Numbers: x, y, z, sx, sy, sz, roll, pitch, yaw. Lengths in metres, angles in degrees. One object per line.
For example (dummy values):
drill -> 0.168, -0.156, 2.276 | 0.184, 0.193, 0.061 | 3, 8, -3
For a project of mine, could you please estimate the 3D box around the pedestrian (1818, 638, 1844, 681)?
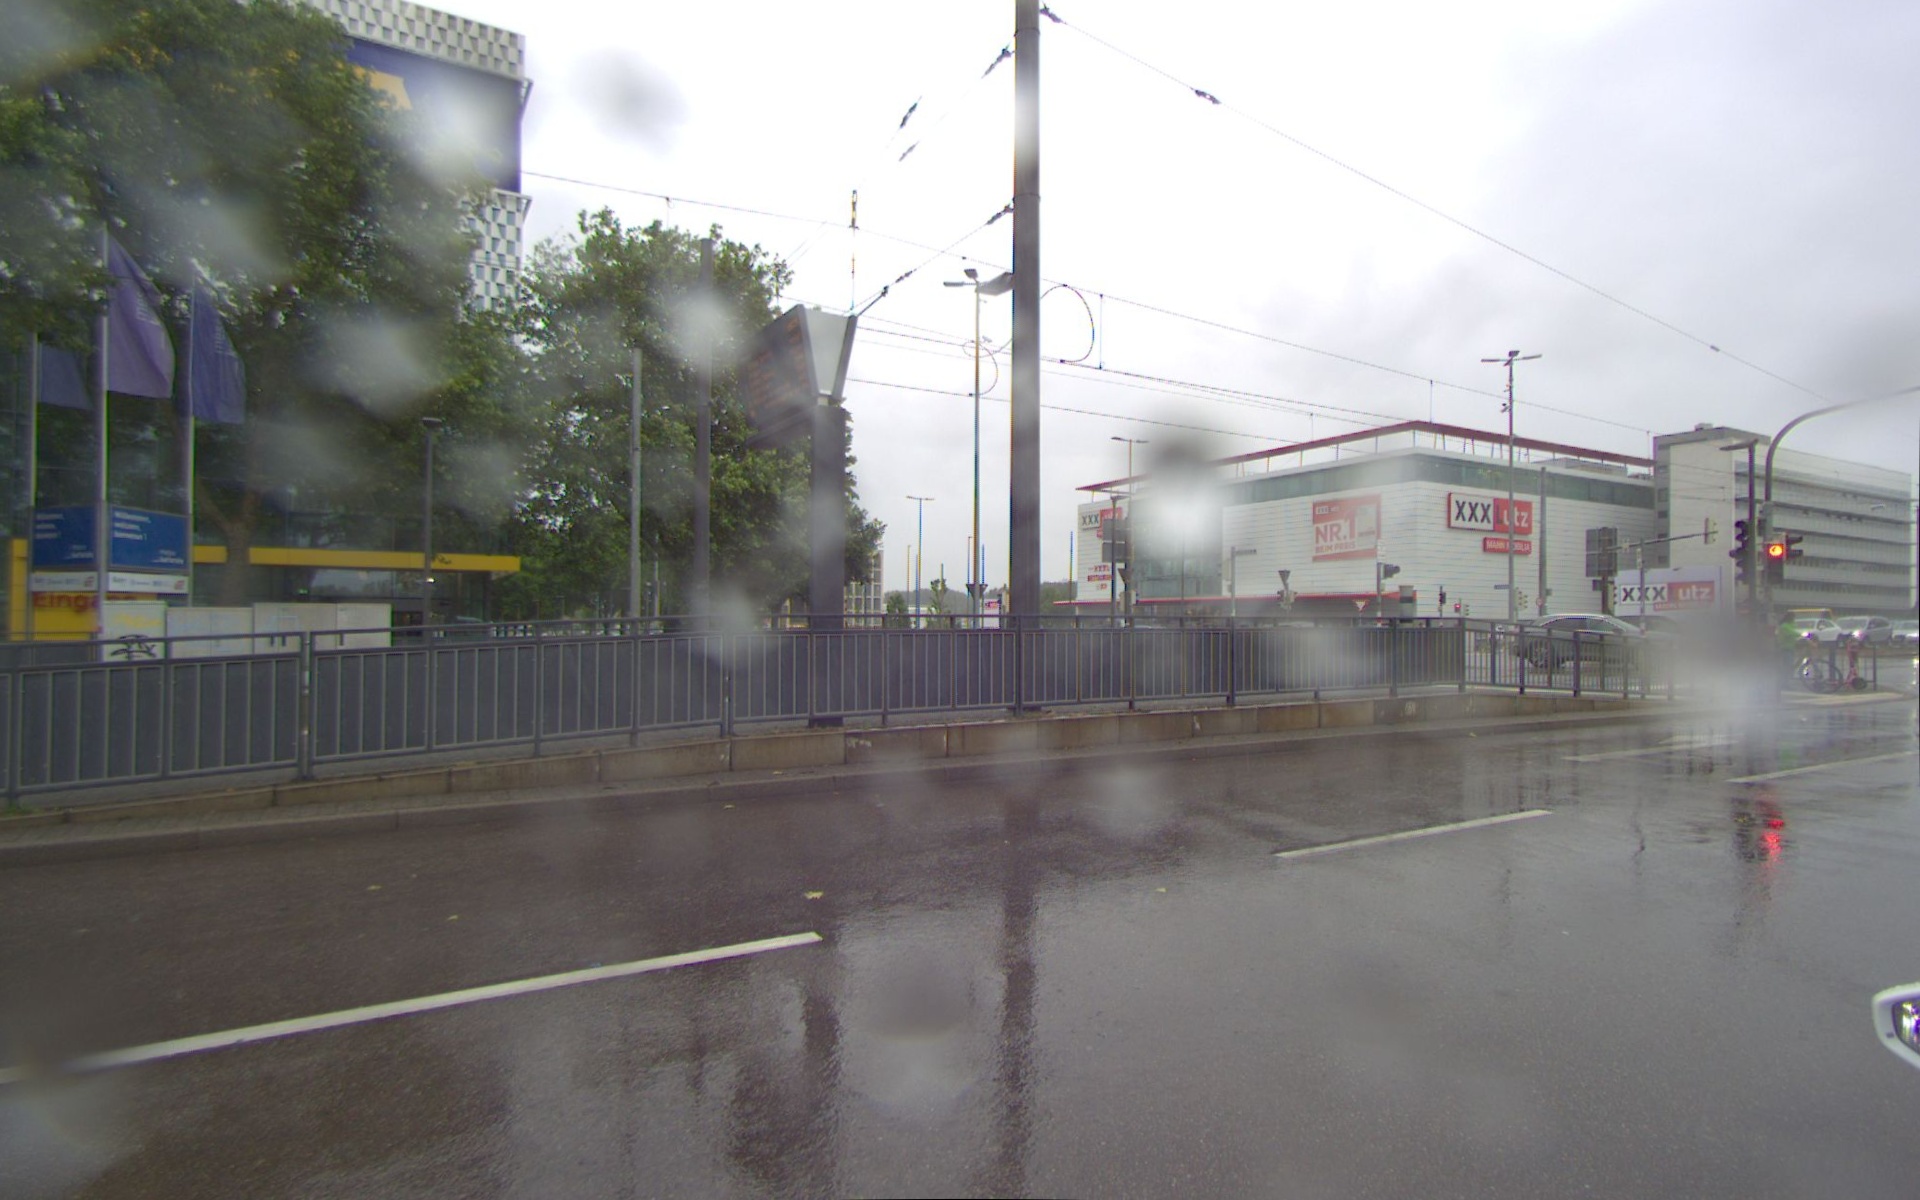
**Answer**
pedestrian -> 18.828, 1.284, 21.710 | 0.376, 0.909, 0.313 | 1, 2, -32

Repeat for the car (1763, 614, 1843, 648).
car -> 40.096, 1.469, 47.777 | 3.765, 1.445, 1.702 | 2, 1, -30

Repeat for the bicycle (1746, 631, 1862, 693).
bicycle -> 17.205, 1.250, 20.511 | 1.724, 1.153, 0.520 | 2, 1, 18

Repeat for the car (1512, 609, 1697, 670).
car -> 19.476, 1.151, 30.494 | 4.447, 1.521, 1.704 | 3, 1, 44

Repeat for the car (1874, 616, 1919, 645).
car -> 51.312, 1.679, 54.458 | 3.527, 1.445, 1.552 | 2, 1, -30

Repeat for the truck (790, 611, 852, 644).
truck -> -11.628, 2.262, 83.507 | 2.445, 2.240, 7.329 | 2, 1, -31

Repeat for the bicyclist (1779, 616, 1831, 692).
bicyclist -> 17.245, 1.090, 20.511 | 0.593, 1.511, 0.600 | 2, 1, 20

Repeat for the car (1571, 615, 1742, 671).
car -> 23.388, 1.394, 33.864 | 1.703, 1.521, 4.450 | 2, 1, -44

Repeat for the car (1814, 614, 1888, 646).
car -> 45.133, 1.539, 50.864 | 3.765, 1.445, 1.702 | 2, 1, -30

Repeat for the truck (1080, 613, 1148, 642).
truck -> 12.065, 2.145, 79.370 | 1.990, 1.968, 5.847 | 2, 1, -31
